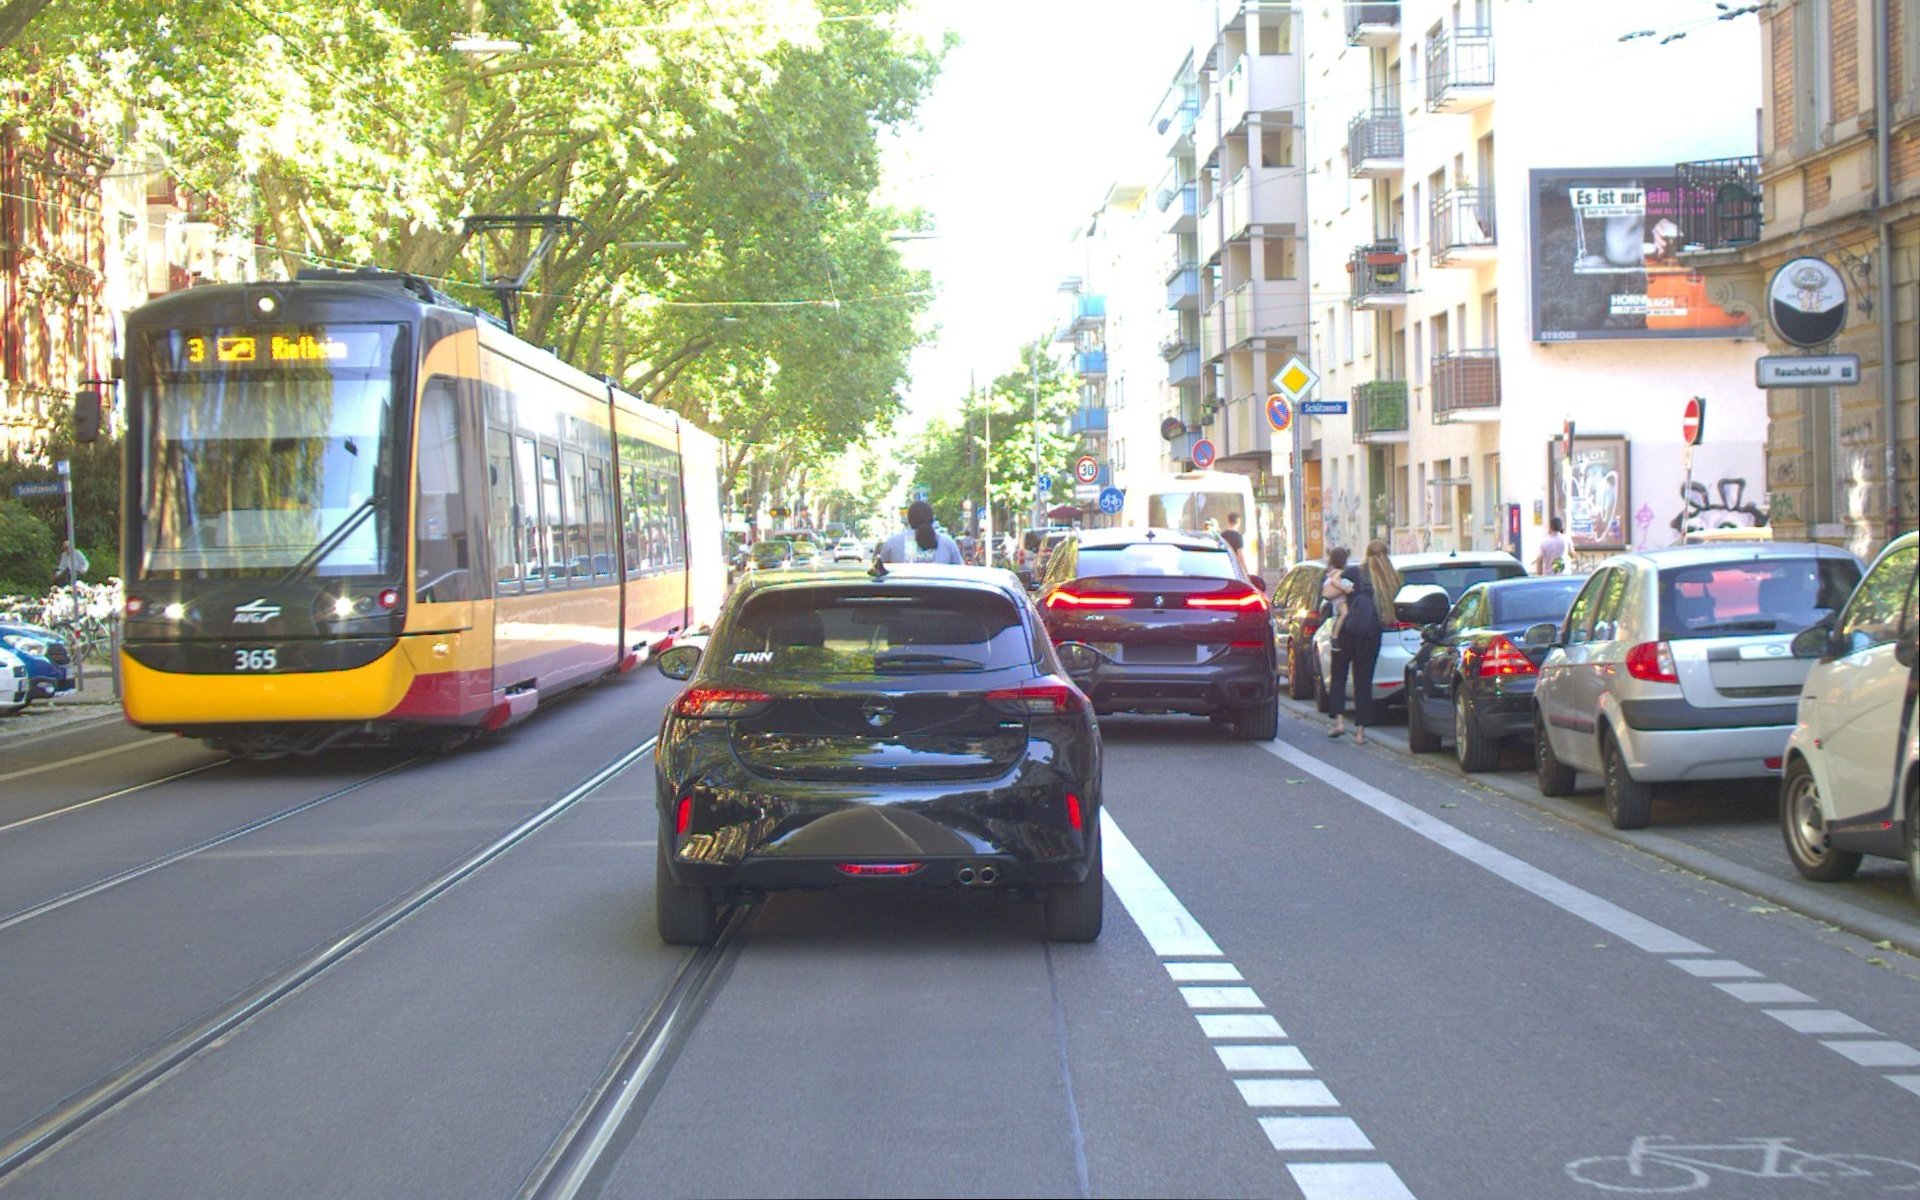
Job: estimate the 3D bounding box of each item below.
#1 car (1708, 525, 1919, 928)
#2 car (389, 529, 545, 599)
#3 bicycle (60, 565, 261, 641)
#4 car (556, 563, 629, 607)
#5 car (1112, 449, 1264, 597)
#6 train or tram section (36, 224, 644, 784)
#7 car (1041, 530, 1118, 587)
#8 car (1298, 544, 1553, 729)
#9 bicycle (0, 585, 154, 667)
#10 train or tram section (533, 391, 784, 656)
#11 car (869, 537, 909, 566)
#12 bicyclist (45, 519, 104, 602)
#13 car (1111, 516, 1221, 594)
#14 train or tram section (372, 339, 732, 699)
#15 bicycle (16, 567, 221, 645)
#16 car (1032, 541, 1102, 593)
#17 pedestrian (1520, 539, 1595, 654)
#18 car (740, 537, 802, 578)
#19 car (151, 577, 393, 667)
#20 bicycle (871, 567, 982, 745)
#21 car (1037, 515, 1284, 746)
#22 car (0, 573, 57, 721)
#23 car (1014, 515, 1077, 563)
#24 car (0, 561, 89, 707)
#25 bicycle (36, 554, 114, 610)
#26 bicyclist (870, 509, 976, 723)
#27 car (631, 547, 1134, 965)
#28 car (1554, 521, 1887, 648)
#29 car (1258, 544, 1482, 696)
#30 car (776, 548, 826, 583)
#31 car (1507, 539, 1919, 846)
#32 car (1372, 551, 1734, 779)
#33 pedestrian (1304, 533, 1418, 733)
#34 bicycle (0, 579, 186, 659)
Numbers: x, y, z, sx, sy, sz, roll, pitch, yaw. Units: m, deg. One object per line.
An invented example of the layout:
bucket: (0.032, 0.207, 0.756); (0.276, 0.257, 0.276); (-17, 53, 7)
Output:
car: (4.365, 0.440, 14.405); (1.567, 1.512, 3.041); (-4, 1, -3)
car: (-12.994, -0.952, 90.708); (3.919, 1.784, 1.677); (1, 1, -3)
bicycle: (-12.493, 0.041, 53.706); (2.945, 1.165, 0.989); (0, 1, 16)
car: (-11.452, -0.490, 107.375); (1.810, 1.333, 3.933); (0, 1, 1)
car: (3.732, -1.262, 57.035); (2.075, 2.211, 4.933); (-4, 1, 1)
train or tram section: (-4.727, -0.741, 29.317); (2.735, 3.669, 12.717); (-1, 1, 0)
car: (3.093, -1.088, 89.425); (1.810, 1.333, 3.933); (-4, 1, 1)
car: (4.055, 0.274, 30.460); (1.661, 1.415, 3.933); (-4, 1, 1)
bicycle: (-13.340, 0.366, 50.196); (2.945, 1.165, 0.989); (0, 1, 16)
train or tram section: (-4.566, -1.175, 54.767); (2.735, 3.669, 12.717); (-1, 1, 0)
car: (-3.399, -2.328, 163.747); (1.809, 1.333, 3.933); (-1, 1, -3)
bicyclist: (-18.757, -0.836, 72.848); (0.987, 1.750, 1.154); (0, 1, -2)
car: (3.916, -0.871, 65.895); (1.810, 1.333, 3.933); (-4, 1, 1)
train or tram section: (-4.654, -0.944, 42.037); (2.735, 3.669, 12.717); (-1, 1, 0)
bicycle: (-12.888, 0.092, 52.675); (2.945, 1.165, 0.989); (0, 1, 16)
car: (3.005, -0.950, 97.455); (1.810, 1.333, 3.933); (-4, 1, 1)
pedestrian: (8.184, -0.058, 47.148); (0.866, 1.561, 0.768); (0, 1, -2)
car: (-6.298, -1.440, 115.075); (1.810, 1.333, 3.933); (-1, 1, 1)
car: (-11.970, 0.371, 59.979); (3.919, 1.493, 1.677); (1, 1, -3)
bicycle: (-0.303, 0.431, 28.719); (0.860, 1.402, 2.524); (0, 1, -2)
car: (1.578, 0.202, 28.267); (1.810, 1.736, 3.933); (-1, 1, 1)
car: (-11.566, 0.447, 35.772); (3.919, 1.493, 1.677); (1, 1, -3)
car: (2.642, -1.899, 107.232); (1.810, 1.333, 3.933); (-4, 1, 1)
car: (-11.844, 0.345, 38.229); (3.919, 1.572, 1.677); (1, 1, -3)
bicycle: (-18.744, -0.393, 72.878); (0.987, 1.165, 2.953); (0, 1, -3)
bicyclist: (-0.319, 0.121, 28.592); (0.848, 1.734, 1.162); (0, 1, -2)
car: (-0.306, 0.531, 14.074); (1.794, 1.436, 3.532); (0, 2, -1)
car: (10.983, -0.236, 49.833); (4.377, 1.792, 1.876); (0, 1, -1)
car: (4.219, 0.163, 35.894); (1.810, 1.375, 3.933); (-4, 1, 1)
car: (-6.744, -1.489, 145.789); (1.810, 1.333, 3.933); (-4, 1, 1)
car: (4.216, 0.444, 19.459); (1.705, 1.451, 3.697); (-4, 1, 3)
car: (4.056, 0.390, 24.119); (1.810, 1.333, 3.933); (-4, 1, 1)
pedestrian: (3.188, 0.254, 27.394); (0.866, 1.561, 0.768); (0, 1, 4)
bicycle: (-13.167, 0.274, 51.532); (2.945, 1.165, 0.989); (0, 1, 16)
